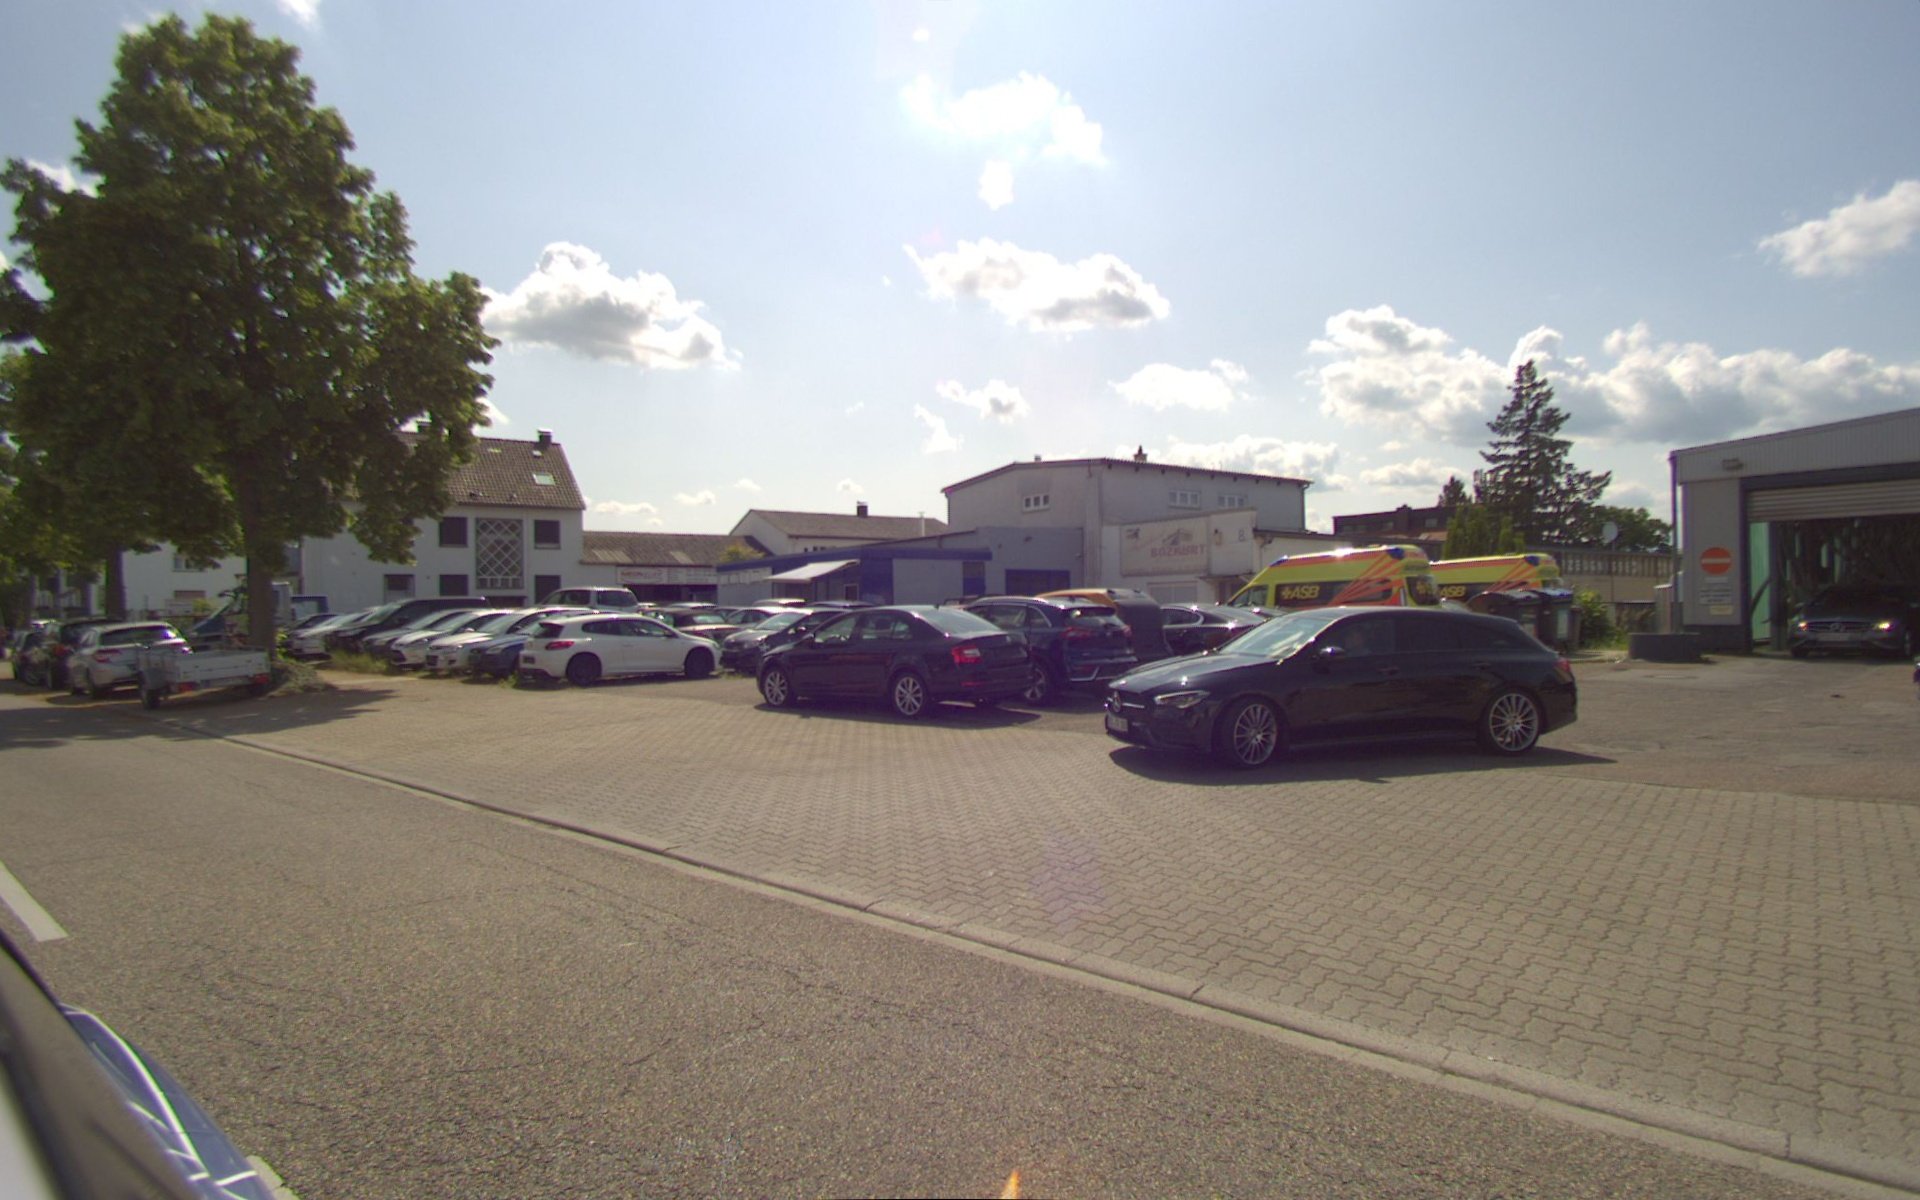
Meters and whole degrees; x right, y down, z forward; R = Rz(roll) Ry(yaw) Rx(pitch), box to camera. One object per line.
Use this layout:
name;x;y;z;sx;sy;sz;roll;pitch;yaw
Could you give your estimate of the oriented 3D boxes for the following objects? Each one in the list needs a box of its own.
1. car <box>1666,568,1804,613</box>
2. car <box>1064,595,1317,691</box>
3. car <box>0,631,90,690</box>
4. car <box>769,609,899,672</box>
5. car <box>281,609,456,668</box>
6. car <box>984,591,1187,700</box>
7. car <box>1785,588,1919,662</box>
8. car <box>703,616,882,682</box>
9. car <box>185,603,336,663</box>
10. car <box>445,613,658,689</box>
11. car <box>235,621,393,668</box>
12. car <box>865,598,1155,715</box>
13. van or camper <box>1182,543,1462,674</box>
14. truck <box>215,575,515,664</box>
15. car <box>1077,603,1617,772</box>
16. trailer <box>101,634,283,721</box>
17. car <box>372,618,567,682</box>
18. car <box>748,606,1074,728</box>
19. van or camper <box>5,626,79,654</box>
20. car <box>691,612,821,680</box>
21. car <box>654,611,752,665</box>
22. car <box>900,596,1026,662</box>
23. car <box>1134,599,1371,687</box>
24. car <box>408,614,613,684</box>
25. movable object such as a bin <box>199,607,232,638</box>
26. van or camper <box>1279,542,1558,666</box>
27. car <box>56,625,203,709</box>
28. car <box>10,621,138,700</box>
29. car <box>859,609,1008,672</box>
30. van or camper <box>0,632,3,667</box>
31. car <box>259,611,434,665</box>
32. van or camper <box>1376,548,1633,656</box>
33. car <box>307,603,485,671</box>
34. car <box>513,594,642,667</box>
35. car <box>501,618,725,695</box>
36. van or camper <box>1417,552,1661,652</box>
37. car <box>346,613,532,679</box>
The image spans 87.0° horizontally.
car;29.167;-0.329;38.182;1.723;1.549;3.813;0;-1;-38
car;4.069;0.759;18.325;4.165;1.545;1.734;-2;-3;44
car;-25.917;1.648;28.567;4.160;1.495;1.680;-2;-1;44
car;-3.655;1.119;28.893;1.690;1.650;4.005;0;-1;-42
car;-17.899;1.133;30.763;1.825;1.627;4.252;-3;-2;39
car;2.058;0.740;17.220;1.425;1.668;3.304;0;-1;-42
car;17.658;0.451;19.584;3.470;1.307;1.777;0;-1;-36
car;-3.883;1.088;23.761;3.784;1.391;1.797;0;-1;-42
car;-28.412;1.279;41.205;4.935;2.248;2.004;-1;0;-37
car;-8.948;1.058;22.371;1.827;1.501;3.982;-1;-1;43
car;-21.467;1.450;33.763;1.678;1.470;4.152;-3;-3;42
car;0.660;0.811;15.514;4.254;1.545;1.736;-2;-1;41
van or camper;7.659;0.253;21.934;1.969;2.494;5.367;-1;-2;-42
truck;-21.521;0.695;37.193;2.721;2.878;9.153;-2;-2;44
car;3.622;0.763;9.861;4.517;1.405;2.005;0;-1;-11
trailer;-14.421;1.363;18.905;4.505;1.299;1.744;-2;2;41
car;-12.392;1.204;25.739;1.827;1.441;4.099;-1;-1;43
car;-0.814;0.854;14.080;4.581;1.421;1.736;-2;-1;41
van or camper;-57.633;2.494;63.653;1.751;1.554;4.011;-2;0;-15
car;-5.636;1.214;27.642;1.690;1.709;4.005;0;-1;-42
car;-9.172;1.314;35.916;1.623;1.770;3.926;-1;-1;-44
car;0.034;0.899;31.692;1.690;1.910;4.005;0;-1;-42
car;5.641;0.822;19.915;1.733;1.545;4.168;1;-2;-43
car;-10.585;1.092;24.037;1.827;1.501;4.099;-1;-1;43
movable object such as a bin;-39.489;1.210;53.706;1.291;1.443;1.607;-1;-7;-33
van or camper;10.259;0.178;23.062;1.969;2.494;5.367;-1;-2;-42
car;-18.033;1.386;21.909;4.236;1.539;1.814;-2;1;42
car;-22.096;1.463;25.178;4.396;1.713;1.676;-2;1;40
car;-0.670;1.008;26.674;3.513;1.449;1.799;0;2;-37
van or camper;-43.151;1.745;43.811;5.933;2.334;1.972;-2;2;43
car;-19.578;1.206;32.449;1.827;1.594;4.476;-3;-3;42
van or camper;13.767;0.143;25.917;1.969;2.494;5.367;-1;-2;-42
car;-16.003;1.000;28.867;1.827;1.802;4.099;-1;-1;43
car;-11.284;0.893;29.766;3.994;2.029;1.694;-2;-1;38
car;-7.039;1.084;20.776;1.828;1.385;3.980;-1;-1;45
van or camper;15.682;0.143;27.686;1.969;2.494;5.367;-1;-2;-42
car;-13.967;1.168;27.301;1.827;1.631;4.099;-1;-1;43
